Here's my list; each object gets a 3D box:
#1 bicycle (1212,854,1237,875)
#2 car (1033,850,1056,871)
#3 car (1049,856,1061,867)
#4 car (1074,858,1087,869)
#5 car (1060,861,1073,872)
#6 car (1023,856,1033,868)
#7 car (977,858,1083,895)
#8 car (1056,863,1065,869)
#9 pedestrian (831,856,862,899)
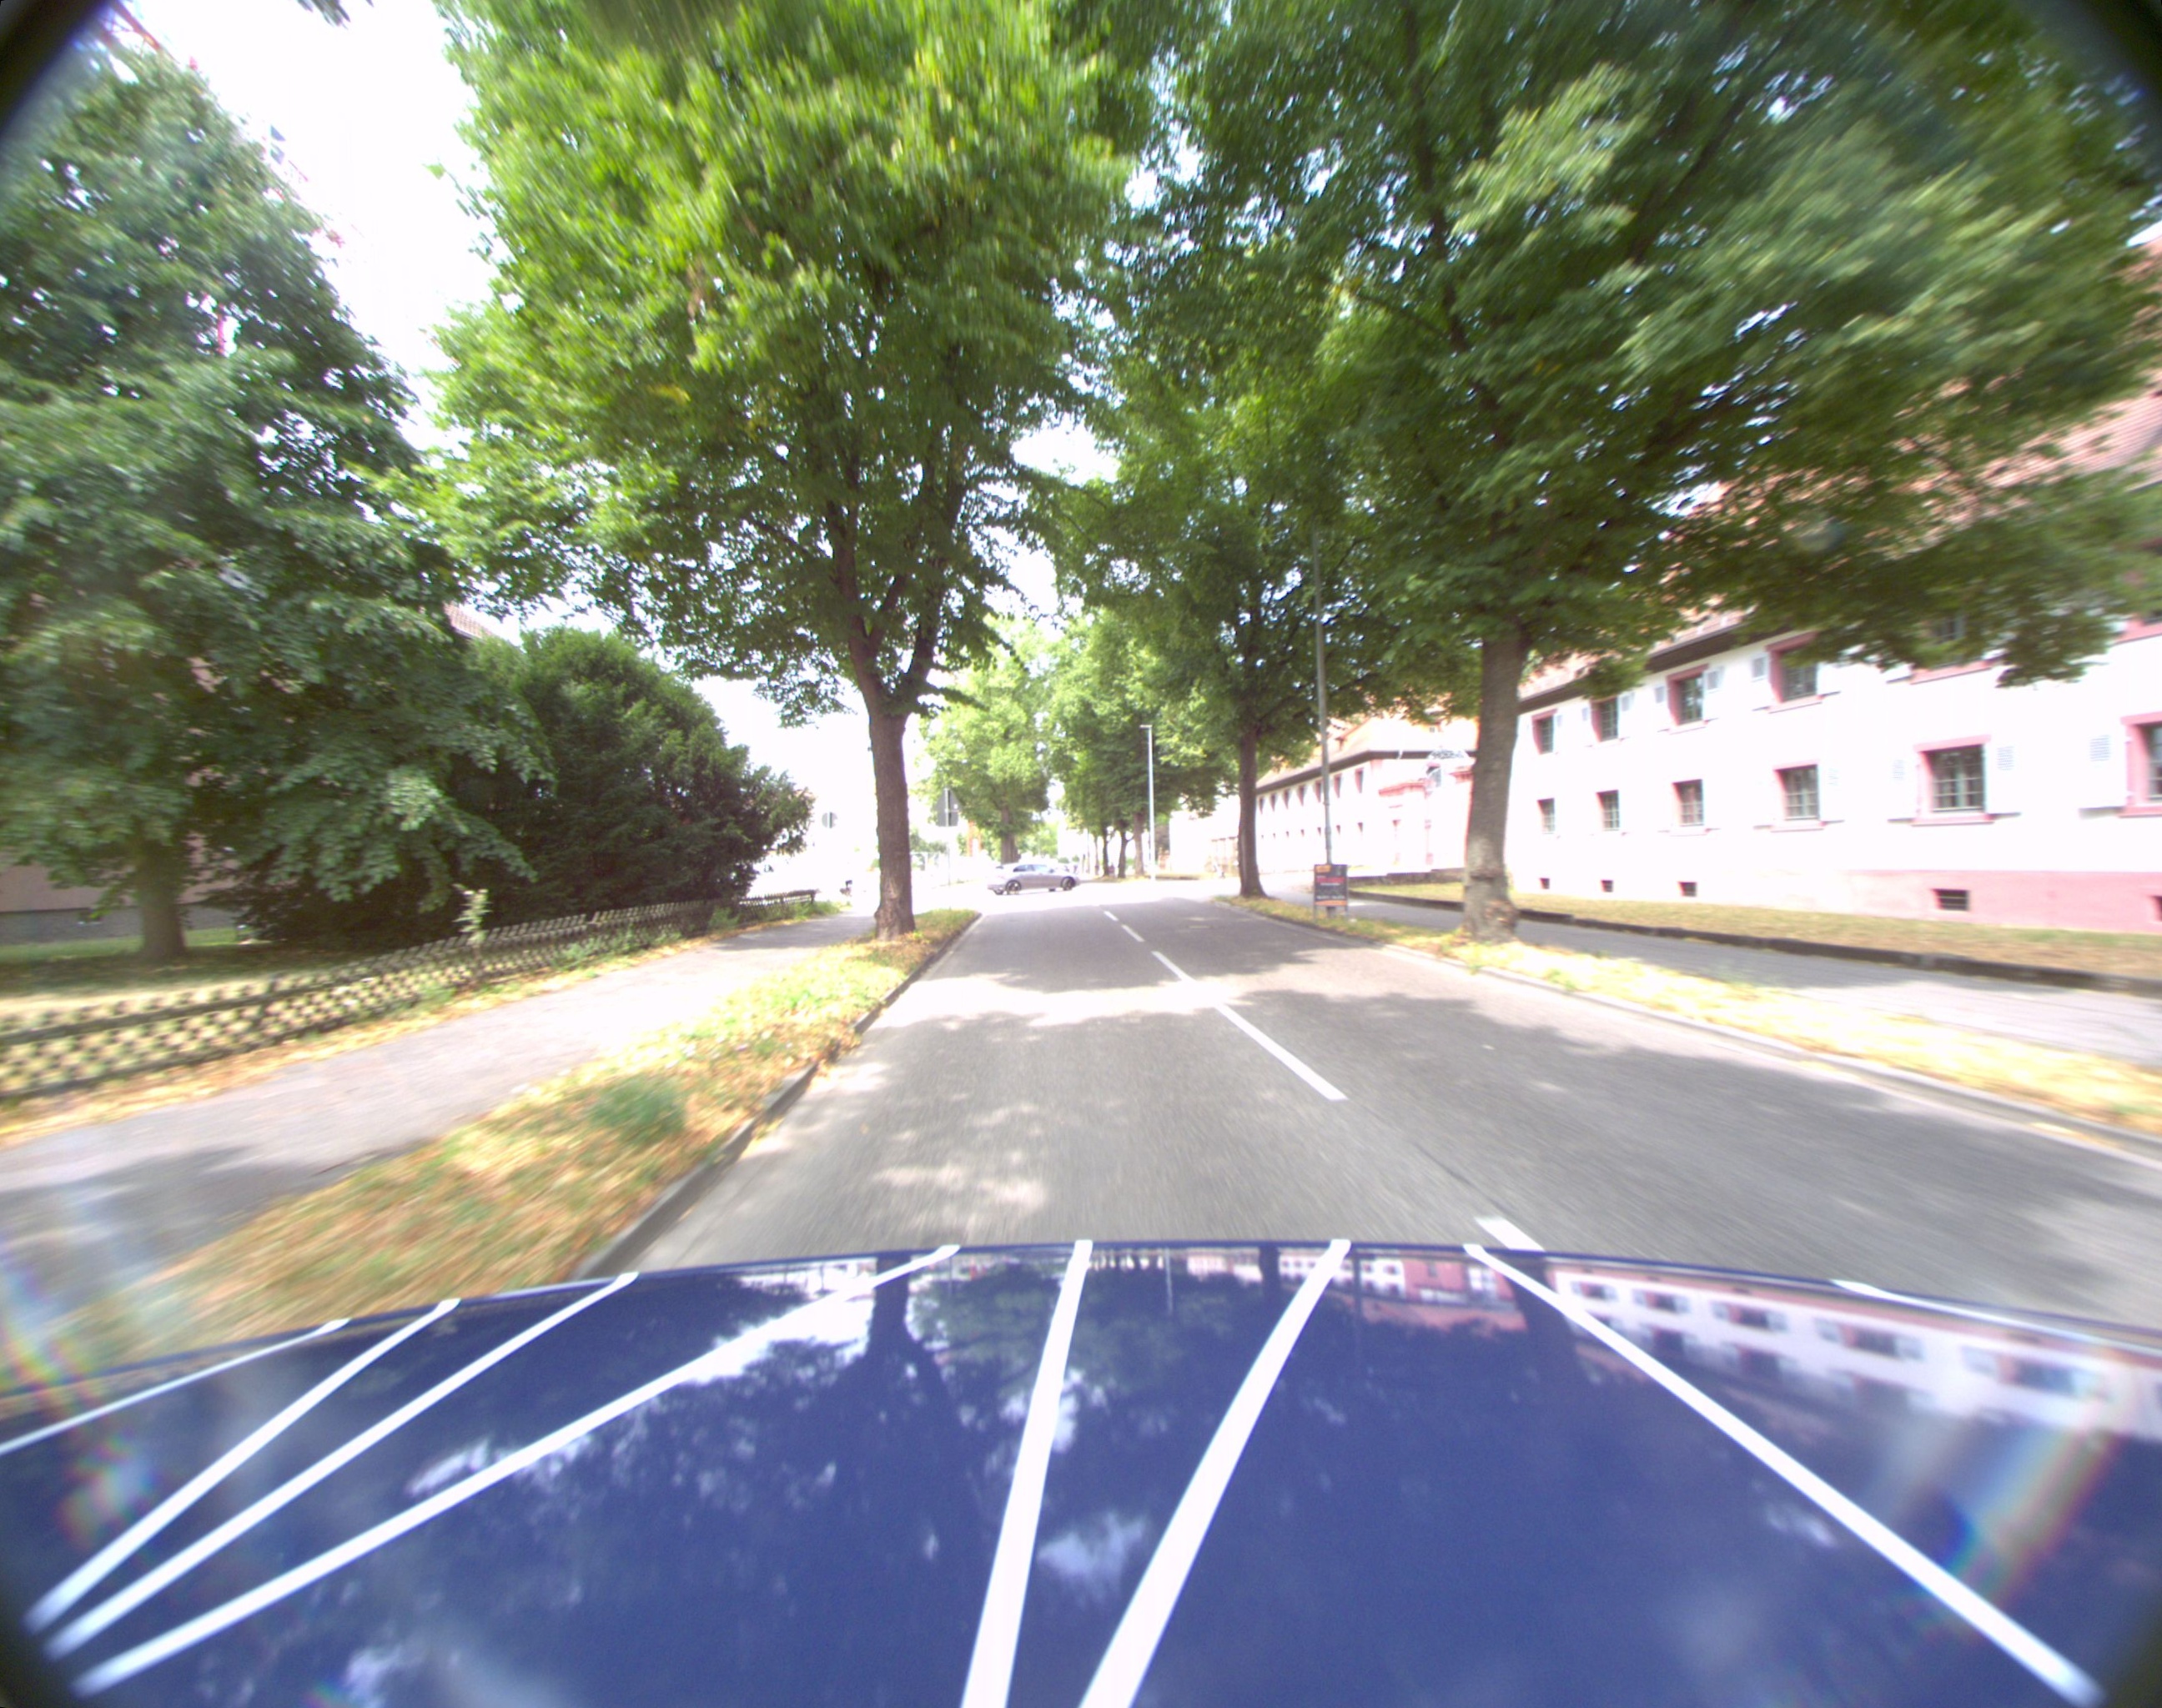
[{"bbox_3d":[7.842,0.585,41.688,0.725,1.088,2.225,-5,0,-3],"label":"bicycle"},{"bbox_3d":[-3.681,0.613,75.676,2.000,2.002,3.998,-1,0,-6],"label":"car"},{"bbox_3d":[-7.103,2.083,207.846,2.623,3.039,7.111,1,-1,-6],"label":"car"},{"bbox_3d":[-0.085,1.774,145.428,1.954,1.992,4.842,-2,-1,-4],"label":"car"},{"bbox_3d":[-2.408,1.984,122.516,1.777,1.649,4.256,-1,-2,-4],"label":"car"},{"bbox_3d":[-12.169,1.871,173.972,1.901,2.587,4.902,-4,0,-6],"label":"car"},{"bbox_3d":[-2.317,1.002,34.928,4.392,1.434,2.007,-2,0,-30],"label":"car"},{"bbox_3d":[-5.134,2.974,191.469,1.723,1.615,3.837,-1,0,-8],"label":"car"},{"bbox_3d":[-10.110,0.999,32.787,0.883,1.803,0.890,1,0,16],"label":"pedestrian"}]
